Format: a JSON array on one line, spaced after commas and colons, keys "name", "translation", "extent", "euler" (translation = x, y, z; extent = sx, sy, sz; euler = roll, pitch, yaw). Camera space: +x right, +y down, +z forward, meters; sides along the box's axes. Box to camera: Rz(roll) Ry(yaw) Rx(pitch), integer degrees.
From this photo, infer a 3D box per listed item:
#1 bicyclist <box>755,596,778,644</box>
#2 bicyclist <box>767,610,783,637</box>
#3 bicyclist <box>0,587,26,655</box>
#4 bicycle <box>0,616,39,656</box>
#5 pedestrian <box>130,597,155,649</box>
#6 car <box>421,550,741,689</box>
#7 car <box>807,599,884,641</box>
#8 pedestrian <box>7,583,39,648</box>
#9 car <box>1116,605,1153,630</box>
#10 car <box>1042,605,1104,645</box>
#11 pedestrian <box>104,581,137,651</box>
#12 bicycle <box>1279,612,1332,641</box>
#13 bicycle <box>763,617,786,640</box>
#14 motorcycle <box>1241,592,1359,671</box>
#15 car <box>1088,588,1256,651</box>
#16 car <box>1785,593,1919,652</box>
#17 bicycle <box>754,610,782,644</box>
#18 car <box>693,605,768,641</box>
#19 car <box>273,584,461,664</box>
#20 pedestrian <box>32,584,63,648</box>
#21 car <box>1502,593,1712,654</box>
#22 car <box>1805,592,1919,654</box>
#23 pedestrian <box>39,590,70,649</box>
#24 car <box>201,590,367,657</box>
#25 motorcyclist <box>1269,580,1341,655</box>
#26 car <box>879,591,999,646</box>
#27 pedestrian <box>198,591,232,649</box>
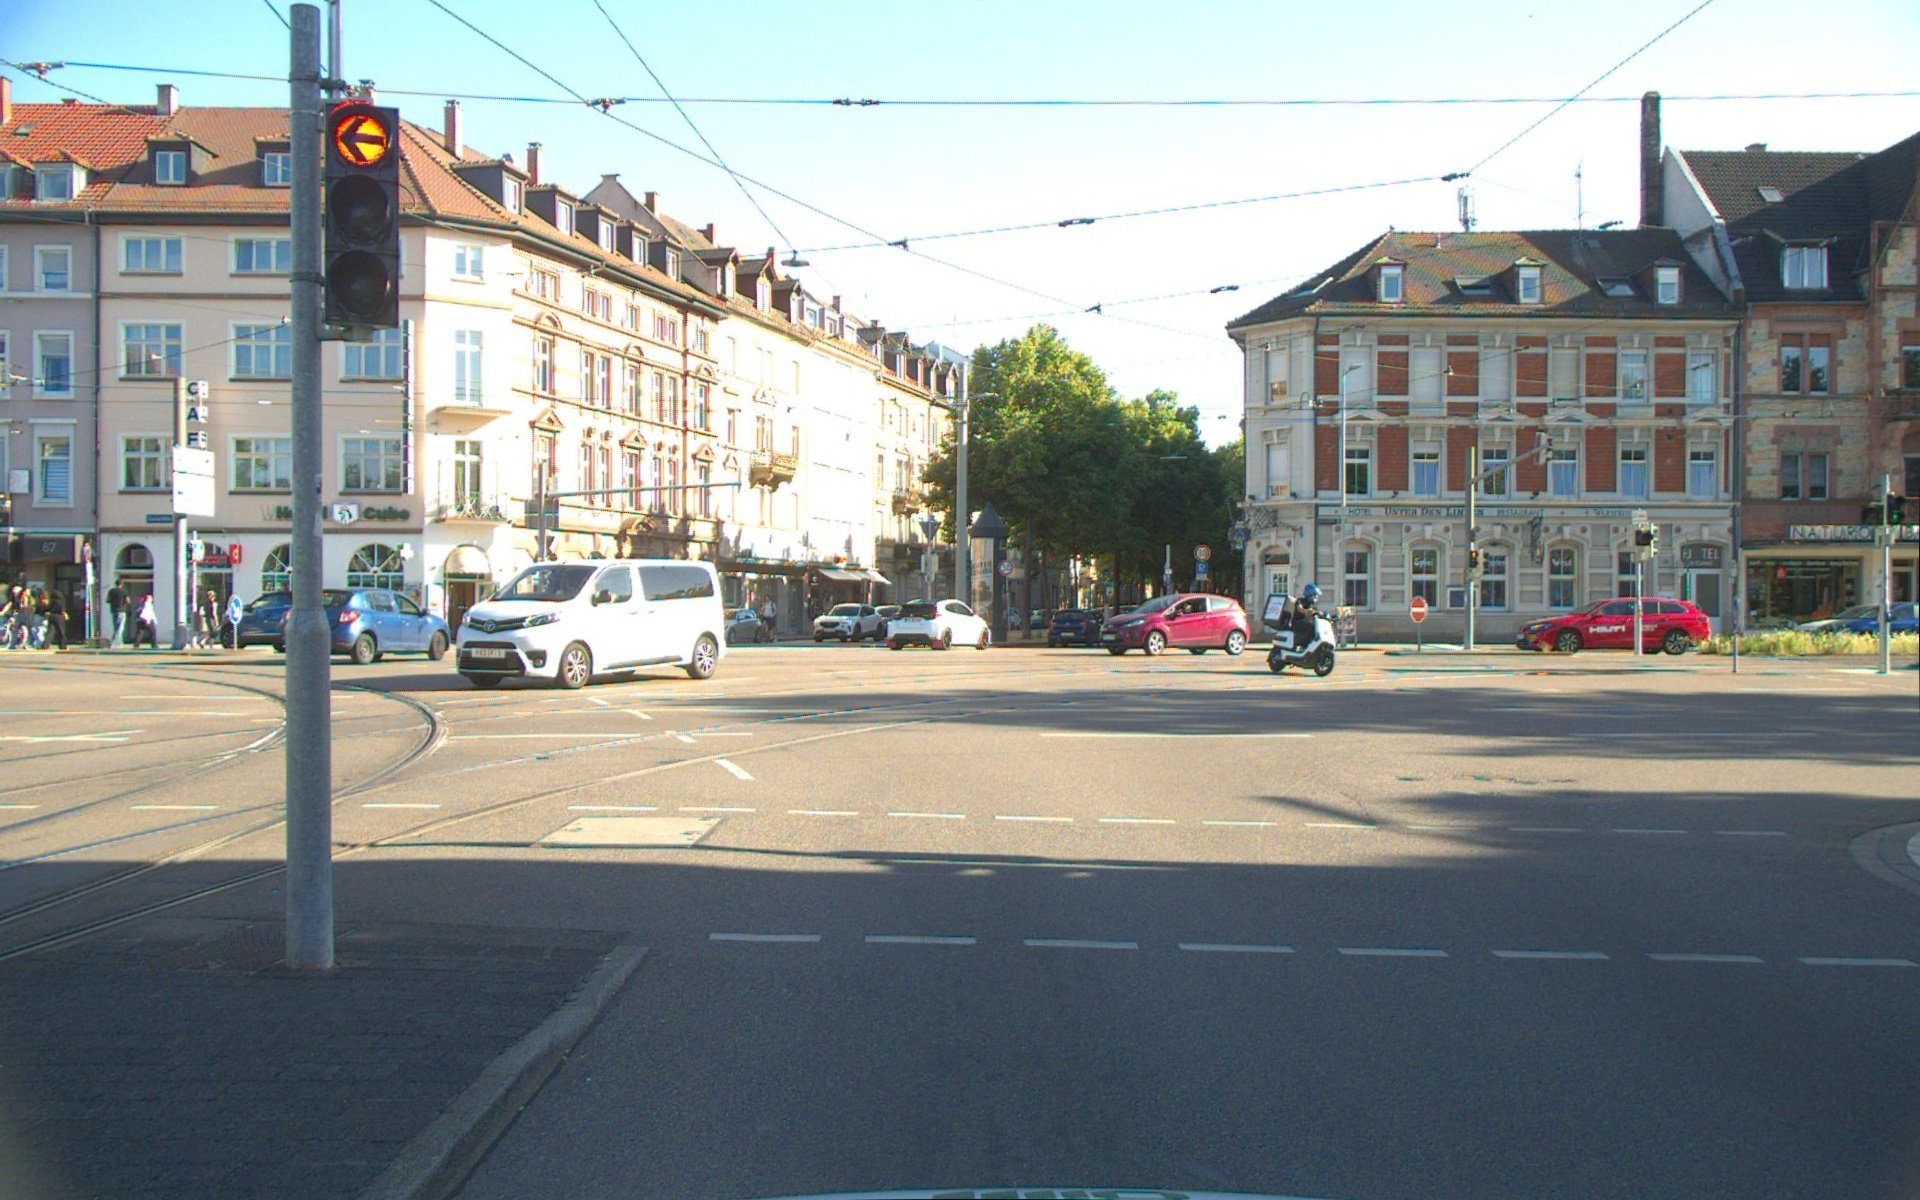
[{"name": "bicyclist", "translation": [-7.592, 0.782, 64.955], "extent": [0.553, 1.835, 0.915], "euler": [1, -1, 14]}, {"name": "bicyclist", "translation": [-7.536, 0.949, 67.318], "extent": [0.462, 1.058, 0.538], "euler": [1, -1, 14]}, {"name": "bicyclist", "translation": [-25.838, 0.563, 44.875], "extent": [0.608, 1.822, 0.615], "euler": [1, -1, 4]}, {"name": "bicycle", "translation": [-25.847, 0.963, 44.862], "extent": [0.608, 1.048, 1.755], "euler": [1, 0, 4]}, {"name": "pedestrian", "translation": [-23.013, 0.651, 46.565], "extent": [0.394, 1.444, 0.625], "euler": [1, -1, -6]}, {"name": "car", "translation": [-5.667, 0.265, 25.549], "extent": [1.955, 1.886, 5.211], "euler": [2, 1, 26]}, {"name": "car", "translation": [-4.610, 0.809, 67.192], "extent": [1.764, 1.613, 4.162], "euler": [1, 0, 16]}, {"name": "pedestrian", "translation": [-24.700, 0.411, 43.594], "extent": [0.512, 1.677, 0.497], "euler": [1, -1, -1]}, {"name": "car", "translation": [12.331, 1.229, 116.776], "extent": [1.951, 1.713, 4.003], "euler": [1, 0, 15]}, {"name": "car", "translation": [4.295, 0.919, 62.177], "extent": [1.786, 1.428, 4.003], "euler": [0, 0, 12]}, {"name": "pedestrian", "translation": [-22.444, 0.417, 44.216], "extent": [0.516, 1.854, 0.676], "euler": [1, -1, 0]}, {"name": "bicycle", "translation": [11.983, 0.909, 57.284], "extent": [1.764, 0.979, 0.604], "euler": [1, 0, 14]}, {"name": "bicycle", "translation": [-7.538, 1.149, 67.306], "extent": [0.462, 0.938, 1.453], "euler": [1, 0, 14]}, {"name": "motorcycle", "translation": [6.045, 0.545, 29.534], "extent": [0.787, 1.357, 2.117], "euler": [1, 0, -33]}, {"name": "car", "translation": [5.119, 0.454, 39.804], "extent": [3.825, 1.451, 1.581], "euler": [0, 1, -29]}, {"name": "car", "translation": [26.907, 0.673, 49.147], "extent": [3.905, 1.650, 1.804], "euler": [1, 0, 0]}, {"name": "bicycle", "translation": [-7.562, 1.057, 65.055], "extent": [0.553, 1.276, 1.558], "euler": [1, 0, 14]}, {"name": "car", "translation": [-9.276, 0.922, 67.026], "extent": [1.624, 1.398, 3.894], "euler": [1, 0, 14]}, {"name": "car", "translation": [-12.123, 0.467, 34.072], "extent": [1.746, 1.530, 3.922], "euler": [0, 0, 15]}, {"name": "pedestrian", "translation": [-24.164, 0.428, 43.821], "extent": [0.512, 1.677, 0.497], "euler": [1, -1, -1]}, {"name": "car", "translation": [16.811, 0.595, 43.139], "extent": [4.758, 1.495, 1.804], "euler": [0, 1, 0]}, {"name": "car", "translation": [25.923, 0.642, 46.025], "extent": [3.905, 1.650, 1.804], "euler": [1, 0, 0]}, {"name": "pedestrian", "translation": [-23.750, 0.511, 43.386], "extent": [0.481, 1.518, 0.556], "euler": [1, -1, -1]}, {"name": "car", "translation": [-17.428, 0.572, 42.598], "extent": [4.107, 1.602, 1.828], "euler": [1, 0, 30]}, {"name": "motorcyclist", "translation": [6.173, 0.312, 29.589], "extent": [0.780, 1.323, 1.006], "euler": [1, -1, -34]}, {"name": "car", "translation": [-0.559, 0.514, 48.190], "extent": [1.856, 1.479, 4.004], "euler": [0, 1, 27]}, {"name": "pedestrian", "translation": [-21.615, 0.573, 47.993], "extent": [0.571, 1.677, 0.840], "euler": [1, -1, -1]}]
